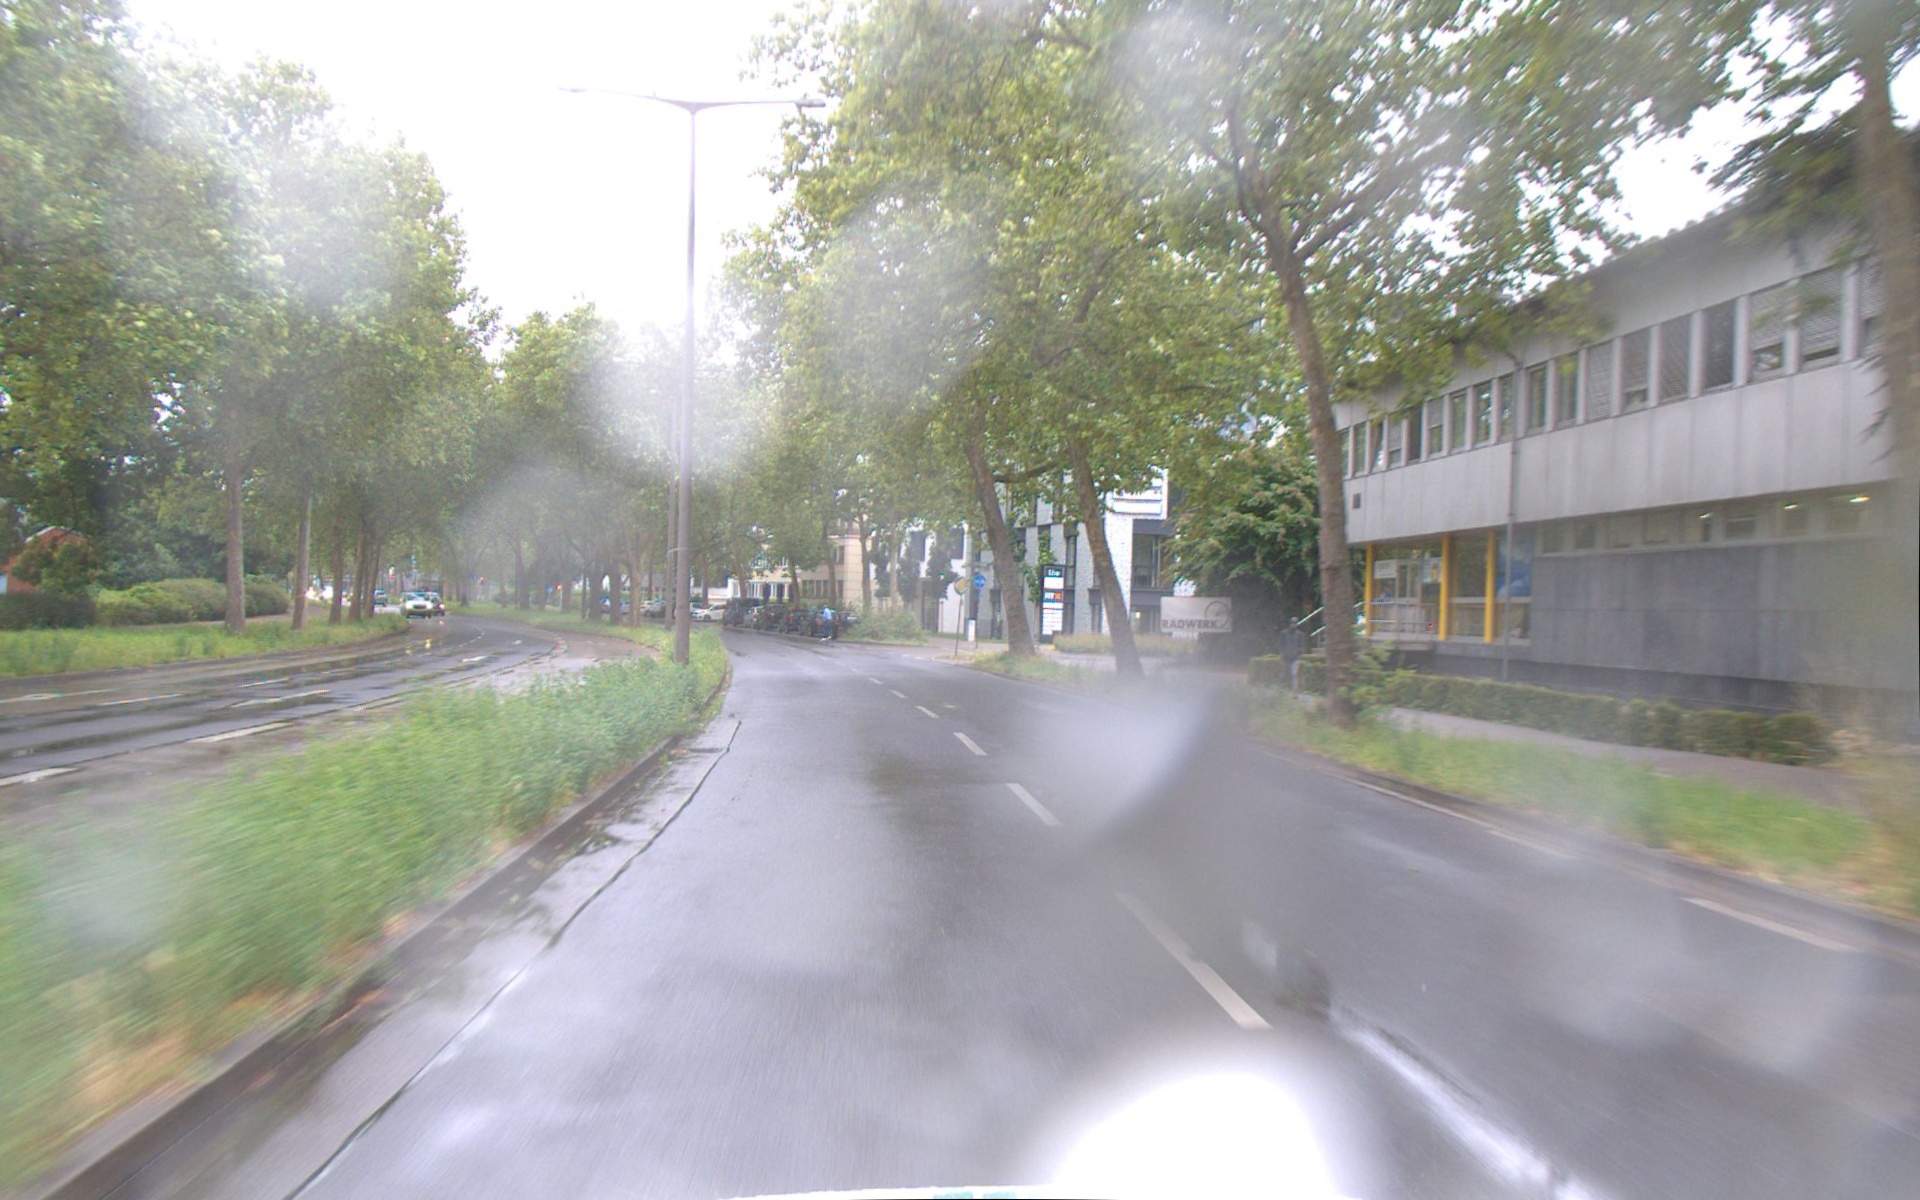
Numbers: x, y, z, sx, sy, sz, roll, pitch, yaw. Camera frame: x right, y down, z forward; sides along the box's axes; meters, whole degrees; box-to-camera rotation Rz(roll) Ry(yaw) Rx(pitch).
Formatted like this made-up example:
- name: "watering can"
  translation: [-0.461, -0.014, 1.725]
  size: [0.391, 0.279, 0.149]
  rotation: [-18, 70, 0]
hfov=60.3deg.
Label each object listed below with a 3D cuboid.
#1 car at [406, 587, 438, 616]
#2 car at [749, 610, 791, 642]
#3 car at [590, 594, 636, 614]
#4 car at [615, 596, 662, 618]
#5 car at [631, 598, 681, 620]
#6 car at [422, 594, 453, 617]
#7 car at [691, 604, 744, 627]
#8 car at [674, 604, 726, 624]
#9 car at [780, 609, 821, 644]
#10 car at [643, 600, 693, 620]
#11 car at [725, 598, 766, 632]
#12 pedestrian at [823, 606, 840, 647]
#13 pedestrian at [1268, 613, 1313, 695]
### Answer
- name: "car"
  translation: [-41.331, 0.119, 126.970]
  size: [1.954, 2.048, 3.973]
  rotation: [2, 1, -23]
- name: "car"
  translation: [-11.853, 1.591, 103.067]
  size: [1.961, 1.814, 3.983]
  rotation: [2, 1, -16]
- name: "car"
  translation: [-34.004, 0.371, 161.999]
  size: [3.941, 1.851, 1.982]
  rotation: [2, 1, -28]
- name: "car"
  translation: [-29.934, 0.651, 153.963]
  size: [3.941, 1.851, 1.982]
  rotation: [2, 1, -28]
- name: "car"
  translation: [-27.384, 0.816, 148.974]
  size: [3.947, 1.863, 1.979]
  rotation: [2, 1, -32]
- name: "car"
  translation: [-44.903, 0.473, 142.117]
  size: [1.968, 1.746, 3.969]
  rotation: [2, 1, -25]
- name: "car"
  translation: [-19.374, 1.203, 132.296]
  size: [3.816, 1.679, 1.875]
  rotation: [2, 1, -24]
- name: "car"
  translation: [-21.327, 1.154, 135.809]
  size: [3.824, 1.519, 1.870]
  rotation: [2, 1, -29]
- name: "car"
  translation: [-9.294, 1.521, 96.335]
  size: [1.958, 1.814, 3.990]
  rotation: [2, 1, -11]
- name: "car"
  translation: [-25.471, 0.860, 144.234]
  size: [3.824, 1.530, 1.870]
  rotation: [2, 1, -29]
- name: "car"
  translation: [-14.849, 1.030, 114.425]
  size: [2.089, 2.124, 3.980]
  rotation: [2, 1, -18]
- name: "pedestrian"
  translation: [-6.402, 1.331, 82.199]
  size: [0.692, 1.984, 0.857]
  rotation: [2, 1, 1]
- name: "pedestrian"
  translation: [7.025, 1.140, 35.174]
  size: [0.658, 1.697, 0.824]
  rotation: [2, 1, -6]
